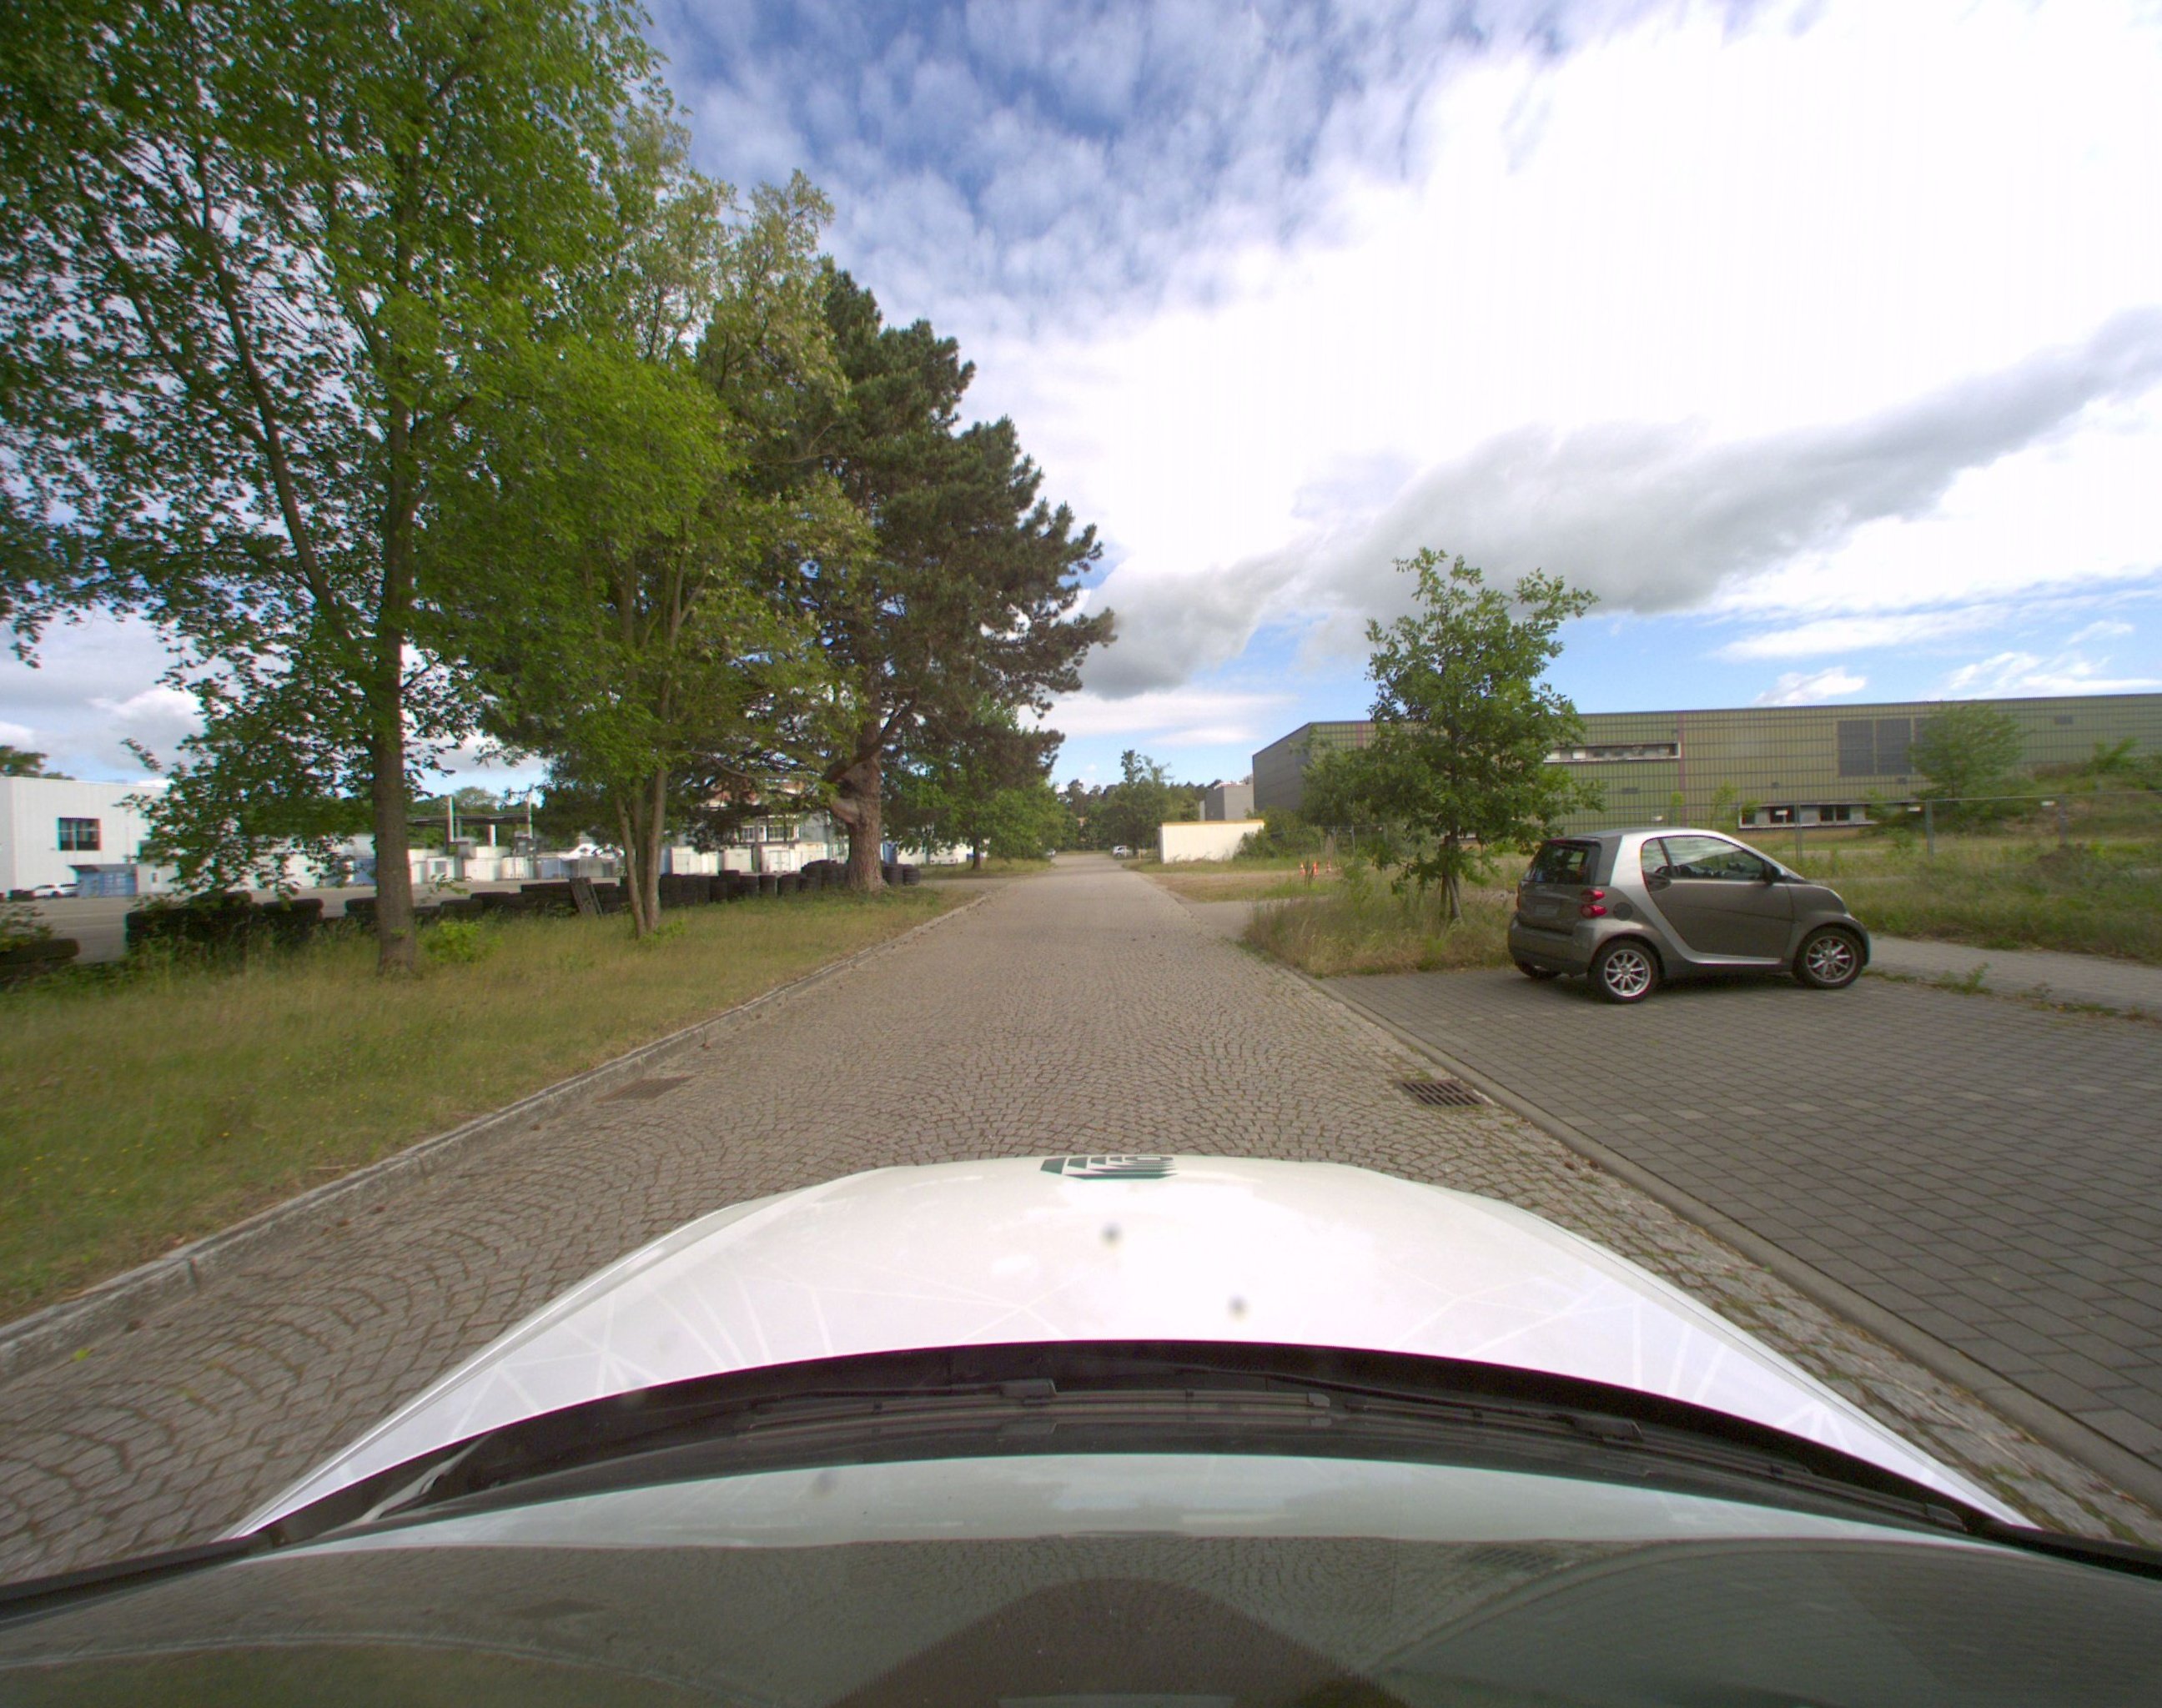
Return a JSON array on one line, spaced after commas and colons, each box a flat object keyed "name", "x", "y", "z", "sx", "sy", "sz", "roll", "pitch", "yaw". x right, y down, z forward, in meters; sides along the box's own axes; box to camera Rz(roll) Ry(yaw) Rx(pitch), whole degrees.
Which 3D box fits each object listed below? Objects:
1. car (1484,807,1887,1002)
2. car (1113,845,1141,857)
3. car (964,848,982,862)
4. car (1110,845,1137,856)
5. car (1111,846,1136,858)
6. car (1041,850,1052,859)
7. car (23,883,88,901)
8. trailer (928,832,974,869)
[{"name": "car", "x": 5.778, "y": 0.445, "z": 8.072, "sx": 2.700, "sy": 1.556, "sz": 1.654, "roll": -4, "pitch": 0, "yaw": 1}, {"name": "car", "x": 6.740, "y": -0.447, "z": 120.546, "sx": 3.971, "sy": 1.448, "sz": 1.653, "roll": -4, "pitch": 0, "yaw": 1}, {"name": "car", "x": -16.930, "y": 0.112, "z": 127.450, "sx": 1.986, "sy": 2.013, "sz": 4.769, "roll": -2, "pitch": 0, "yaw": 1}, {"name": "car", "x": 6.571, "y": -0.532, "z": 125.679, "sx": 3.971, "sy": 1.475, "sz": 1.653, "roll": -4, "pitch": 0, "yaw": 1}, {"name": "car", "x": 6.168, "y": -0.302, "z": 117.854, "sx": 3.510, "sy": 1.362, "sz": 1.623, "roll": -4, "pitch": 0, "yaw": 1}, {"name": "car", "x": -5.877, "y": 0.050, "z": 139.450, "sx": 1.642, "sy": 1.369, "sz": 3.998, "roll": -2, "pitch": 0, "yaw": 1}, {"name": "car", "x": -102.176, "y": 3.763, "z": 81.162, "sx": 4.090, "sy": 1.633, "sz": 1.831, "roll": -2, "pitch": 0, "yaw": 1}, {"name": "trailer", "x": -13.871, "y": -0.411, "z": 87.692, "sx": 2.614, "sy": 3.597, "sz": 10.185, "roll": -2, "pitch": 0, "yaw": 3}]
